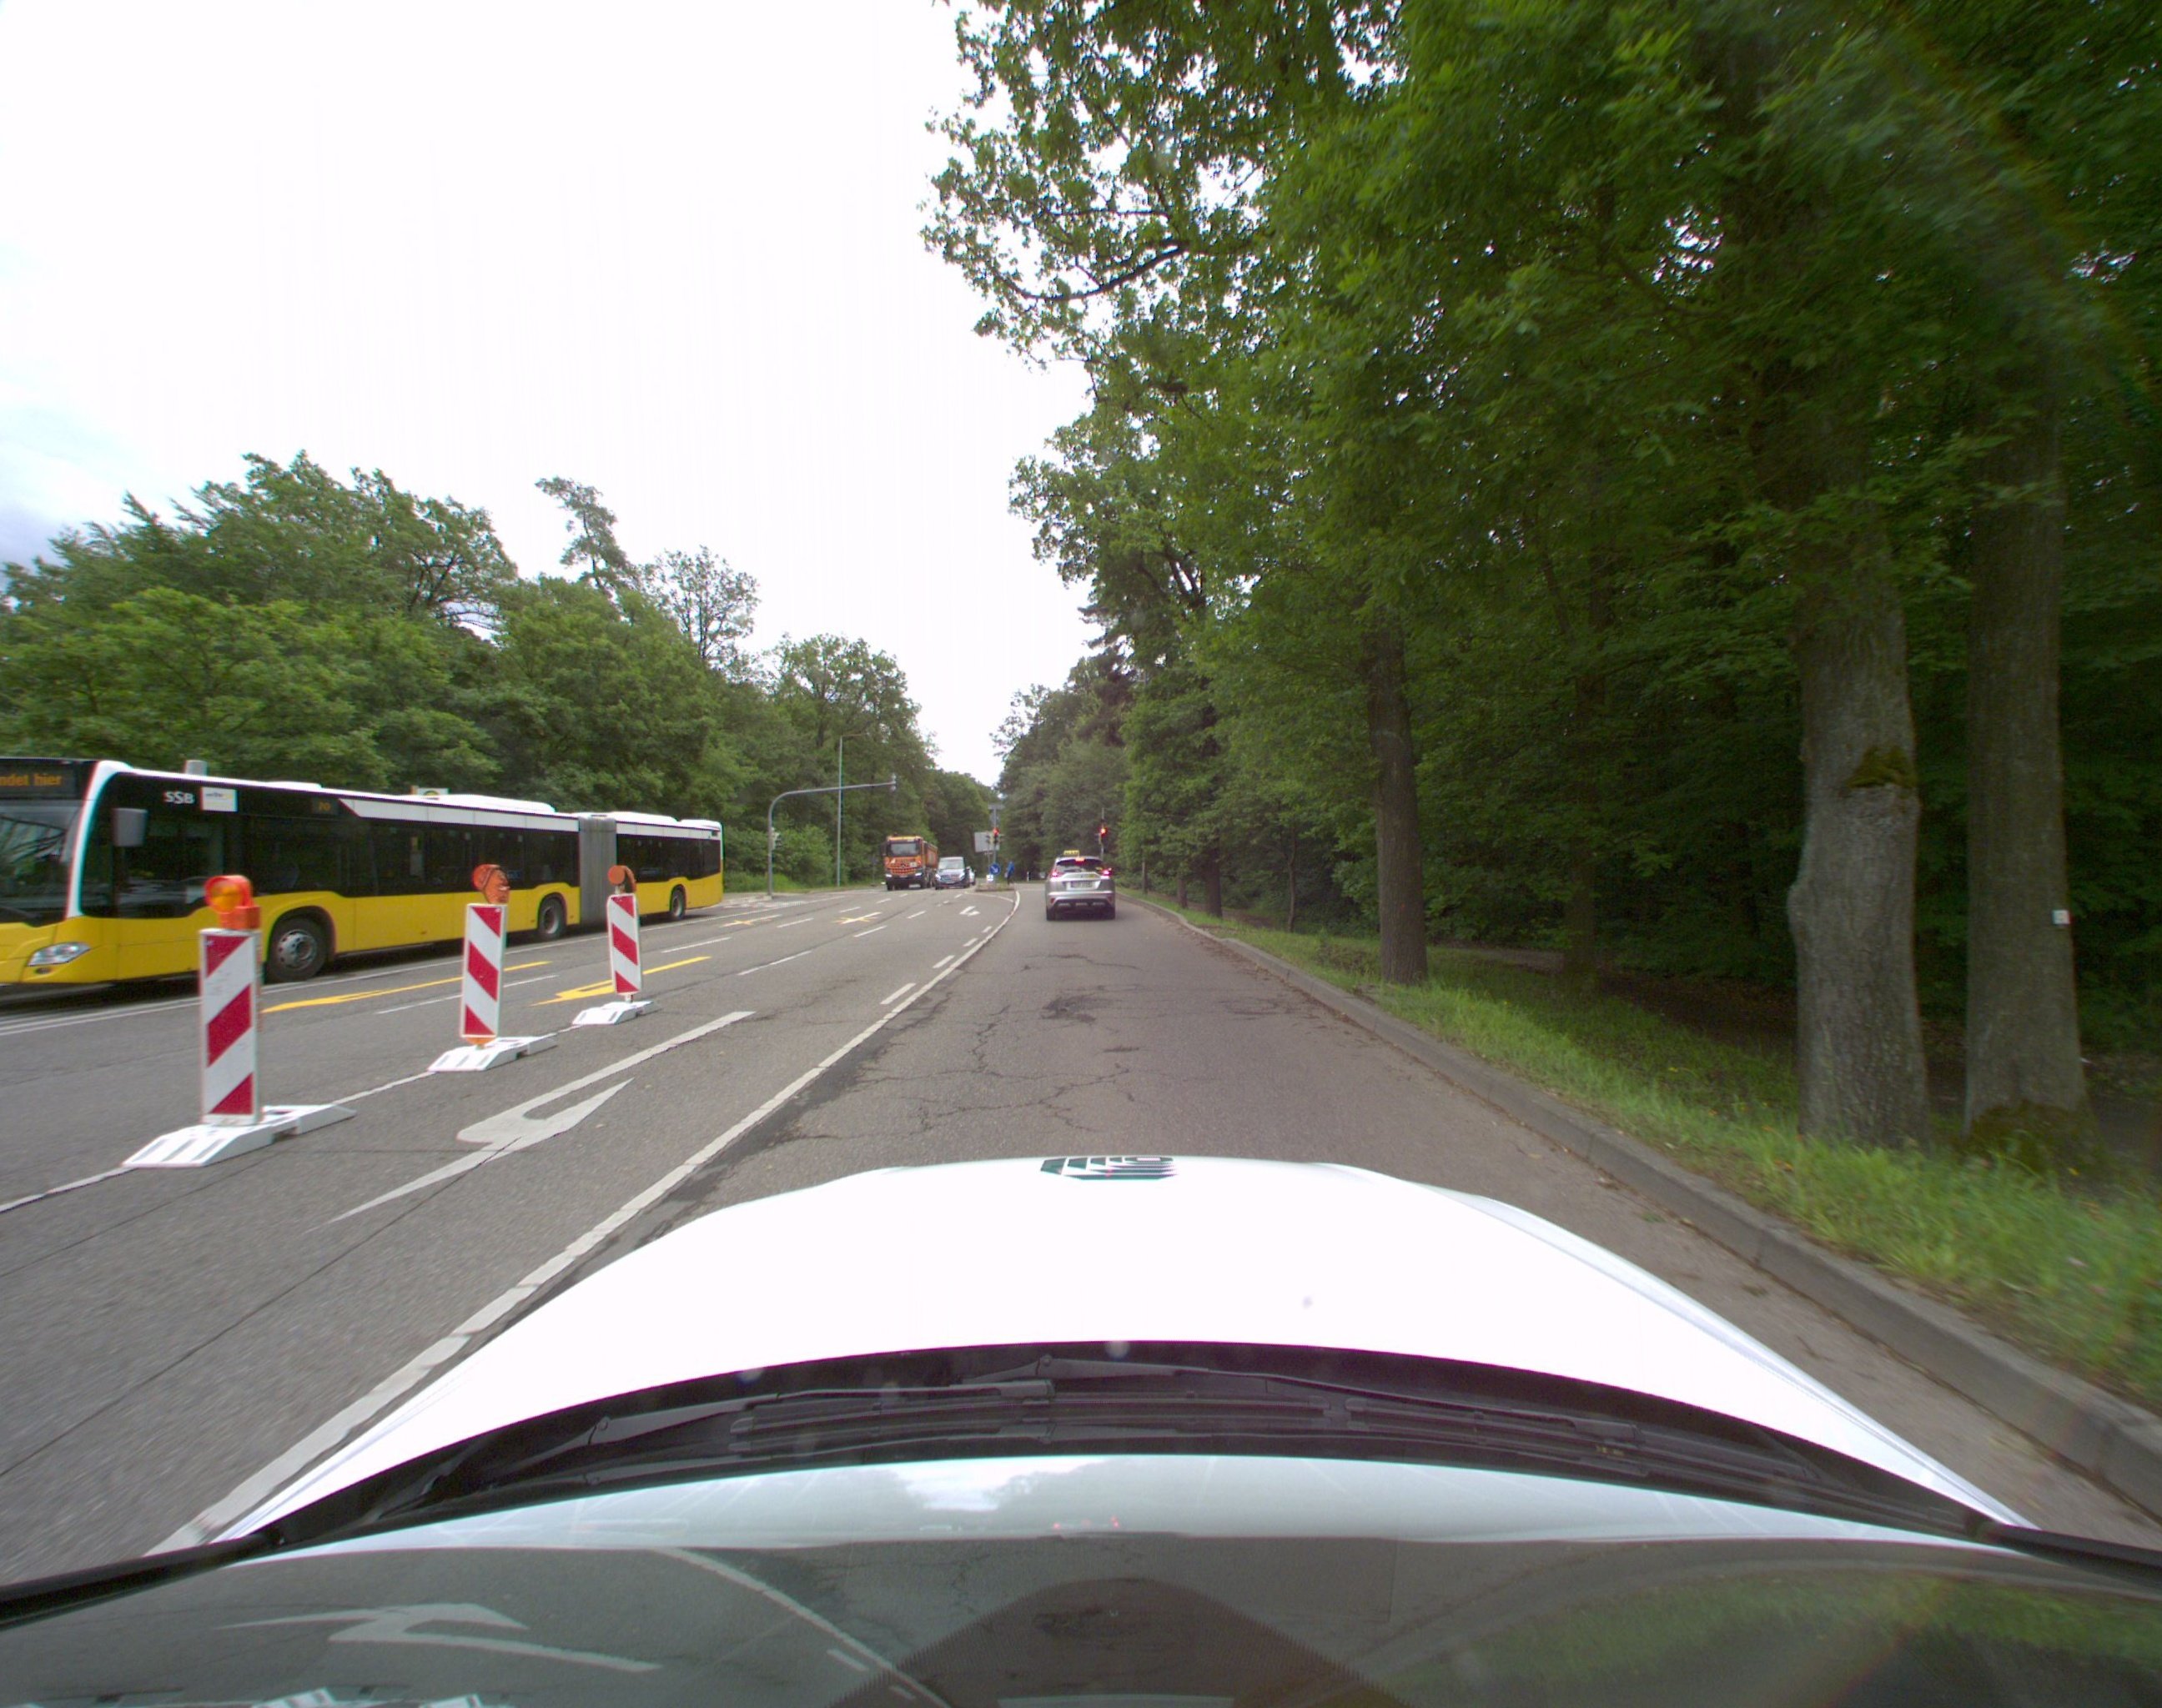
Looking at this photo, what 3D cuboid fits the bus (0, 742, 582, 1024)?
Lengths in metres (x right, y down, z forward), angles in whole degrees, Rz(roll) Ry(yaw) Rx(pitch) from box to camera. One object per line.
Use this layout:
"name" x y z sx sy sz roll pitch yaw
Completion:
"bus" -12.847 0.348 13.888 2.891 3.127 9.752 0 0 -2

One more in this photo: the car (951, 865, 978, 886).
"car" -8.607 1.566 60.418 1.609 1.321 3.716 -3 0 -4

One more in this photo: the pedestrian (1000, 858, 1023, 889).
"pedestrian" -3.751 1.037 44.070 1.043 1.649 1.069 -2 0 1

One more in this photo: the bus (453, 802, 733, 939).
"bus" -13.097 0.400 23.113 2.891 3.127 8.688 0 0 -2

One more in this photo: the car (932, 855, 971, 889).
"car" -7.905 1.083 49.959 1.991 1.893 4.829 -3 -1 -6

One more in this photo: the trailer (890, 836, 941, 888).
"trailer" -11.762 0.640 58.546 2.736 3.318 8.547 -2 -1 -7

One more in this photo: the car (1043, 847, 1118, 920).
"car" 0.036 0.713 22.159 1.840 1.780 4.001 0 0 1

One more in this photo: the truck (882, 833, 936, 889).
"truck" -11.150 0.510 53.432 2.736 3.318 7.141 -2 -1 -7
